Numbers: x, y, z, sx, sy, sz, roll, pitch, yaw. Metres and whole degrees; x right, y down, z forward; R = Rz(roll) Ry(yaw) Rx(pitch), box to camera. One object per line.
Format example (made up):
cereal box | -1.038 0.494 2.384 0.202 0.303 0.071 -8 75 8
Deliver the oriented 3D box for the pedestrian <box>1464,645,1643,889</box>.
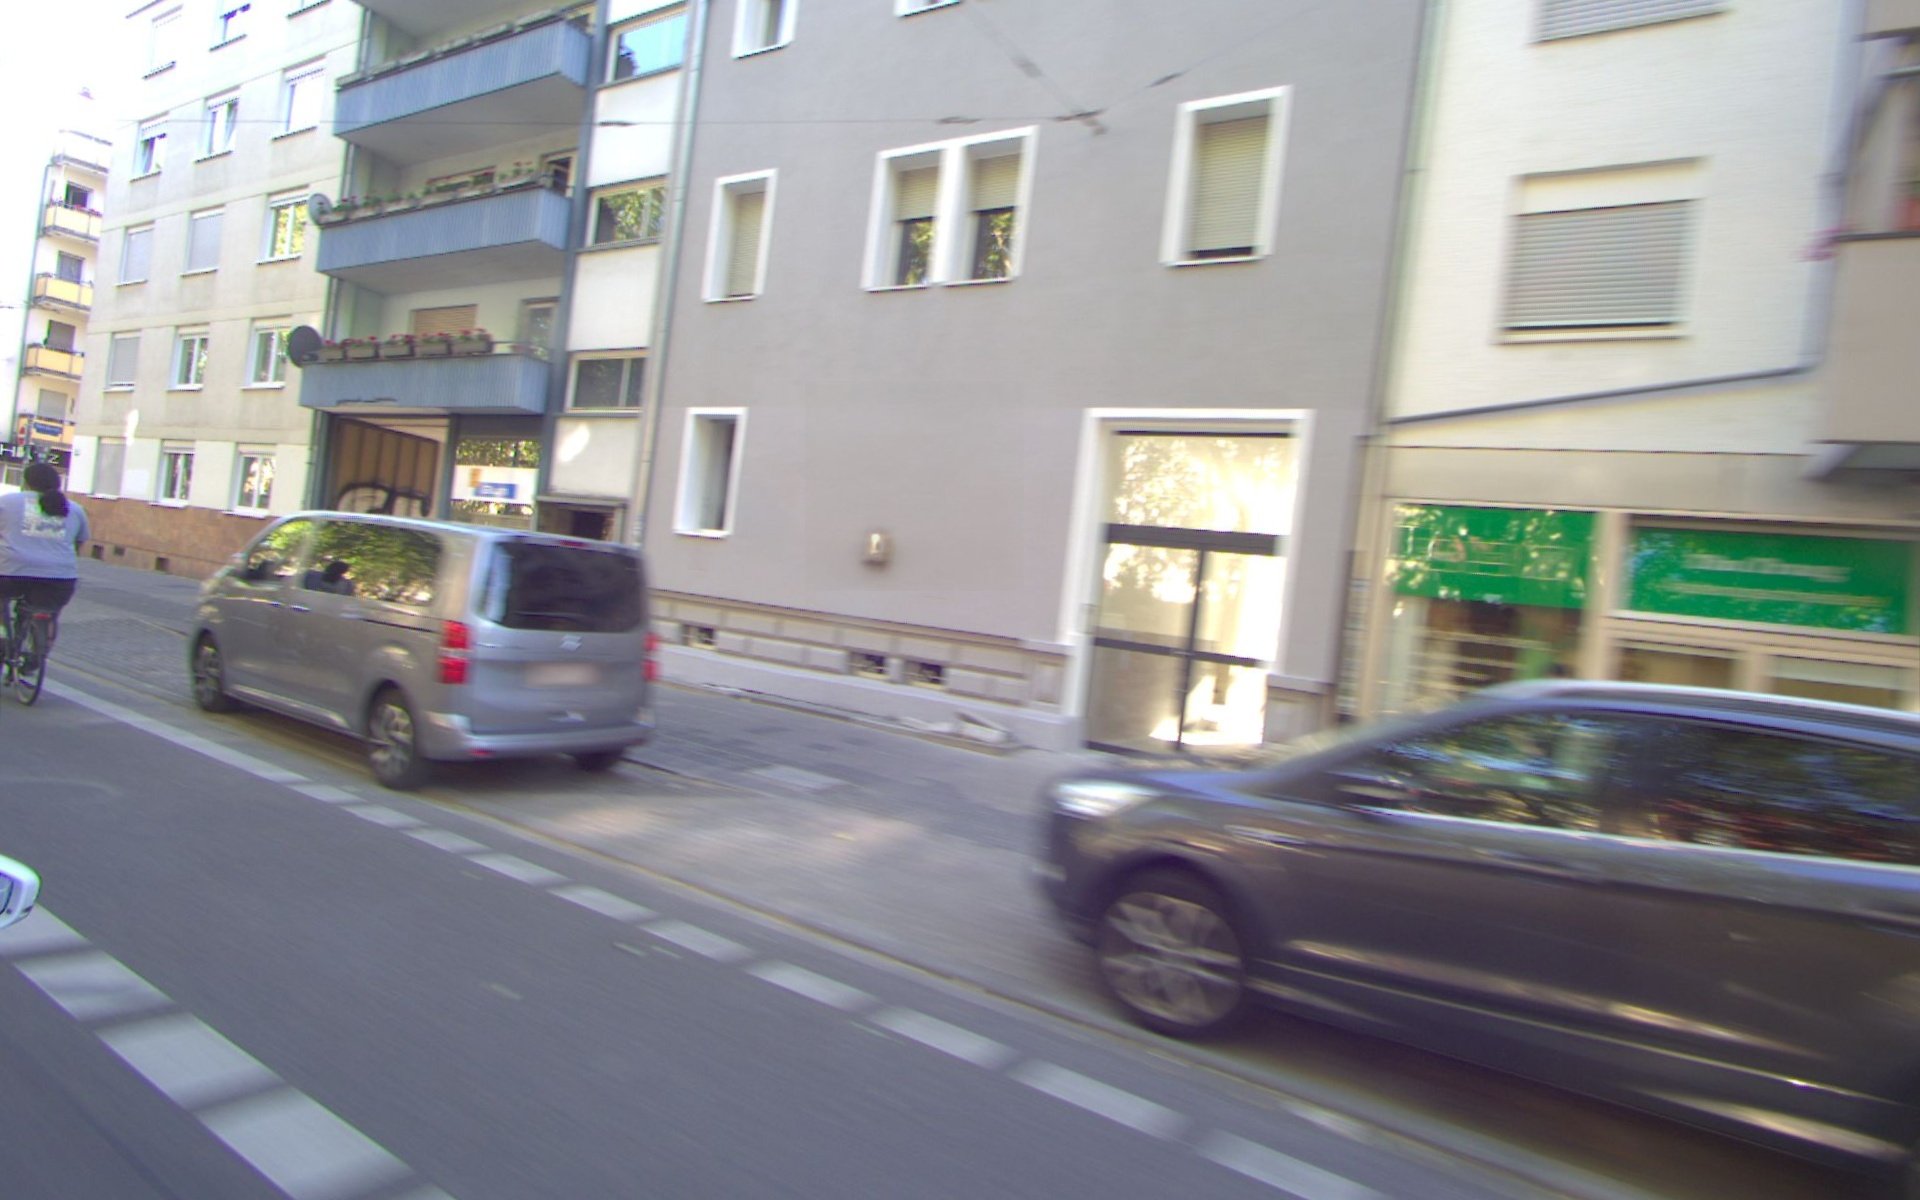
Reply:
pedestrian | 4.641 1.280 7.909 0.746 1.741 0.718 7 0 -11

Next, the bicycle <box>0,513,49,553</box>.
bicycle | -28.328 -2.034 30.162 1.934 1.028 0.804 7 0 27

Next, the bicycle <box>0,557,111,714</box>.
bicycle | -7.852 0.226 8.225 1.957 1.104 0.703 6 -3 31

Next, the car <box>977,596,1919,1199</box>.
car | 2.413 1.122 4.311 4.211 1.725 1.770 7 -1 31

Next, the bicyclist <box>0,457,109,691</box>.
bicyclist | -7.638 -0.220 8.109 0.899 1.780 0.788 7 -1 31

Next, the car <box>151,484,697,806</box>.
car | -4.706 0.216 8.545 4.845 1.912 1.860 7 -1 34

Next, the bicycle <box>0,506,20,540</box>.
bicycle | -34.867 -2.851 35.825 0.692 1.130 1.837 7 -1 34

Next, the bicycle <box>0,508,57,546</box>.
bicycle | -33.552 -2.637 35.958 0.605 1.130 1.768 7 -1 45

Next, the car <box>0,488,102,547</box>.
car | -36.434 -3.309 38.964 1.965 1.852 4.369 7 -1 28
